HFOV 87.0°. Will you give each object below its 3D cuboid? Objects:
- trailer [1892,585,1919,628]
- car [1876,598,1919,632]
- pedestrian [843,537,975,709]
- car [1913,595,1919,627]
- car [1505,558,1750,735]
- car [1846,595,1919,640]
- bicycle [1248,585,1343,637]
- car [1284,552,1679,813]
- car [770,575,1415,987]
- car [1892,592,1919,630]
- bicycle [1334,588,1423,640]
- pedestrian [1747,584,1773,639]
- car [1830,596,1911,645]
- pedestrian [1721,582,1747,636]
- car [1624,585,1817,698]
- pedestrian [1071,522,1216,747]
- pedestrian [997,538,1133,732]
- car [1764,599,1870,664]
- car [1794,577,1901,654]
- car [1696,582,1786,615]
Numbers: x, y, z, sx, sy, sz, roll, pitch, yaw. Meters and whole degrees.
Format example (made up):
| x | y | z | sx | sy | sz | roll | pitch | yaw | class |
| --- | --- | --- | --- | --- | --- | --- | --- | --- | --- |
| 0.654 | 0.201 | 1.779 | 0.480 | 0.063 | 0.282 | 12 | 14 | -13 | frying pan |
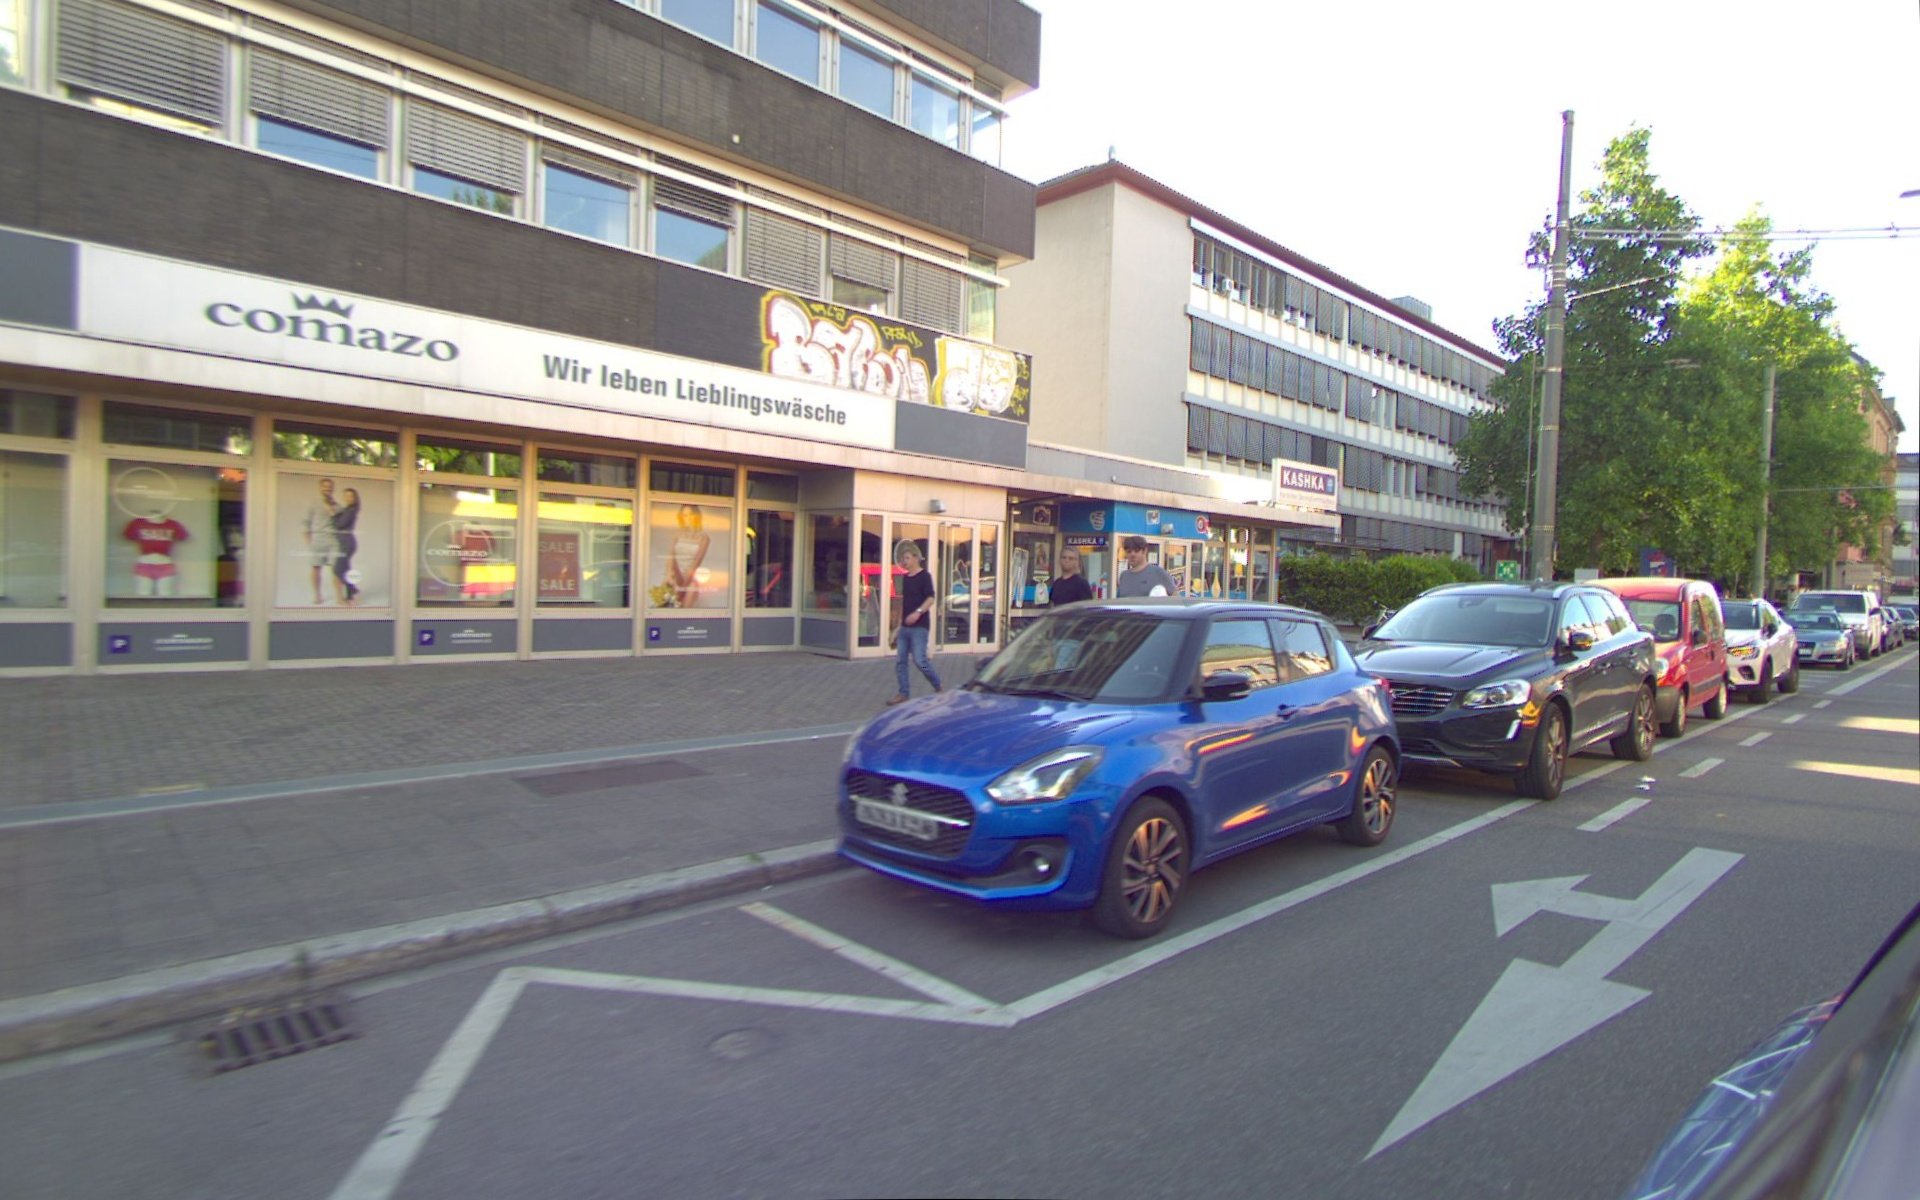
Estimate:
| x | y | z | sx | sy | sz | roll | pitch | yaw | class |
| --- | --- | --- | --- | --- | --- | --- | --- | --- | --- |
| 50.332 | 0.351 | 52.935 | 5.222 | 2.176 | 1.782 | 0 | 1 | -41 | trailer |
| 42.683 | 0.659 | 45.608 | 4.142 | 1.446 | 1.781 | 1 | 1 | -44 | car |
| -0.557 | 0.218 | 11.000 | 1.016 | 1.734 | 0.902 | 1 | 4 | -44 | pedestrian |
| 58.177 | 0.644 | 60.352 | 4.618 | 1.866 | 1.694 | 0 | 1 | -44 | car |
| 8.365 | 0.464 | 12.525 | 4.178 | 1.831 | 1.676 | 0 | 1 | -44 | car |
| 33.664 | 0.613 | 36.879 | 3.834 | 1.513 | 1.596 | 1 | 1 | -42 | car |
| 8.029 | 0.245 | 24.280 | 2.012 | 1.109 | 0.628 | 5 | 2 | 41 | bicycle |
| 4.848 | 0.524 | 9.081 | 4.401 | 1.779 | 1.822 | -1 | 1 | -44 | car |
| 0.970 | 0.666 | 5.630 | 3.733 | 1.511 | 1.638 | 0 | 0 | -45 | car |
| 46.974 | 0.537 | 49.541 | 4.401 | 1.767 | 1.781 | 0 | 1 | -44 | car |
| 9.818 | 0.315 | 23.795 | 0.461 | 1.109 | 1.883 | 0 | 3 | -44 | bicycle |
| 26.115 | 0.366 | 33.039 | 0.430 | 1.734 | 0.494 | 1 | 4 | -44 | pedestrian |
| 30.261 | 0.641 | 33.613 | 3.845 | 1.511 | 1.685 | -1 | 1 | -43 | car |
| 25.682 | 0.286 | 33.568 | 0.430 | 1.734 | 0.494 | 1 | 4 | -44 | pedestrian |
| 12.548 | 0.592 | 16.598 | 4.252 | 1.616 | 1.789 | 1 | 0 | -43 | car |
| 1.684 | 0.277 | 9.275 | 1.016 | 1.922 | 0.794 | 1 | 2 | -44 | pedestrian |
| 1.034 | 0.307 | 9.924 | 1.016 | 1.778 | 0.812 | 1 | 2 | -44 | pedestrian |
| 21.220 | 0.703 | 25.015 | 4.100 | 1.422 | 1.675 | -1 | 1 | -45 | car |
| 25.953 | 0.409 | 29.540 | 4.823 | 2.047 | 1.879 | 0 | 1 | -43 | car |
| 49.869 | -0.122 | 64.693 | 4.358 | 1.692 | 1.564 | 7 | 4 | 43 | car |
